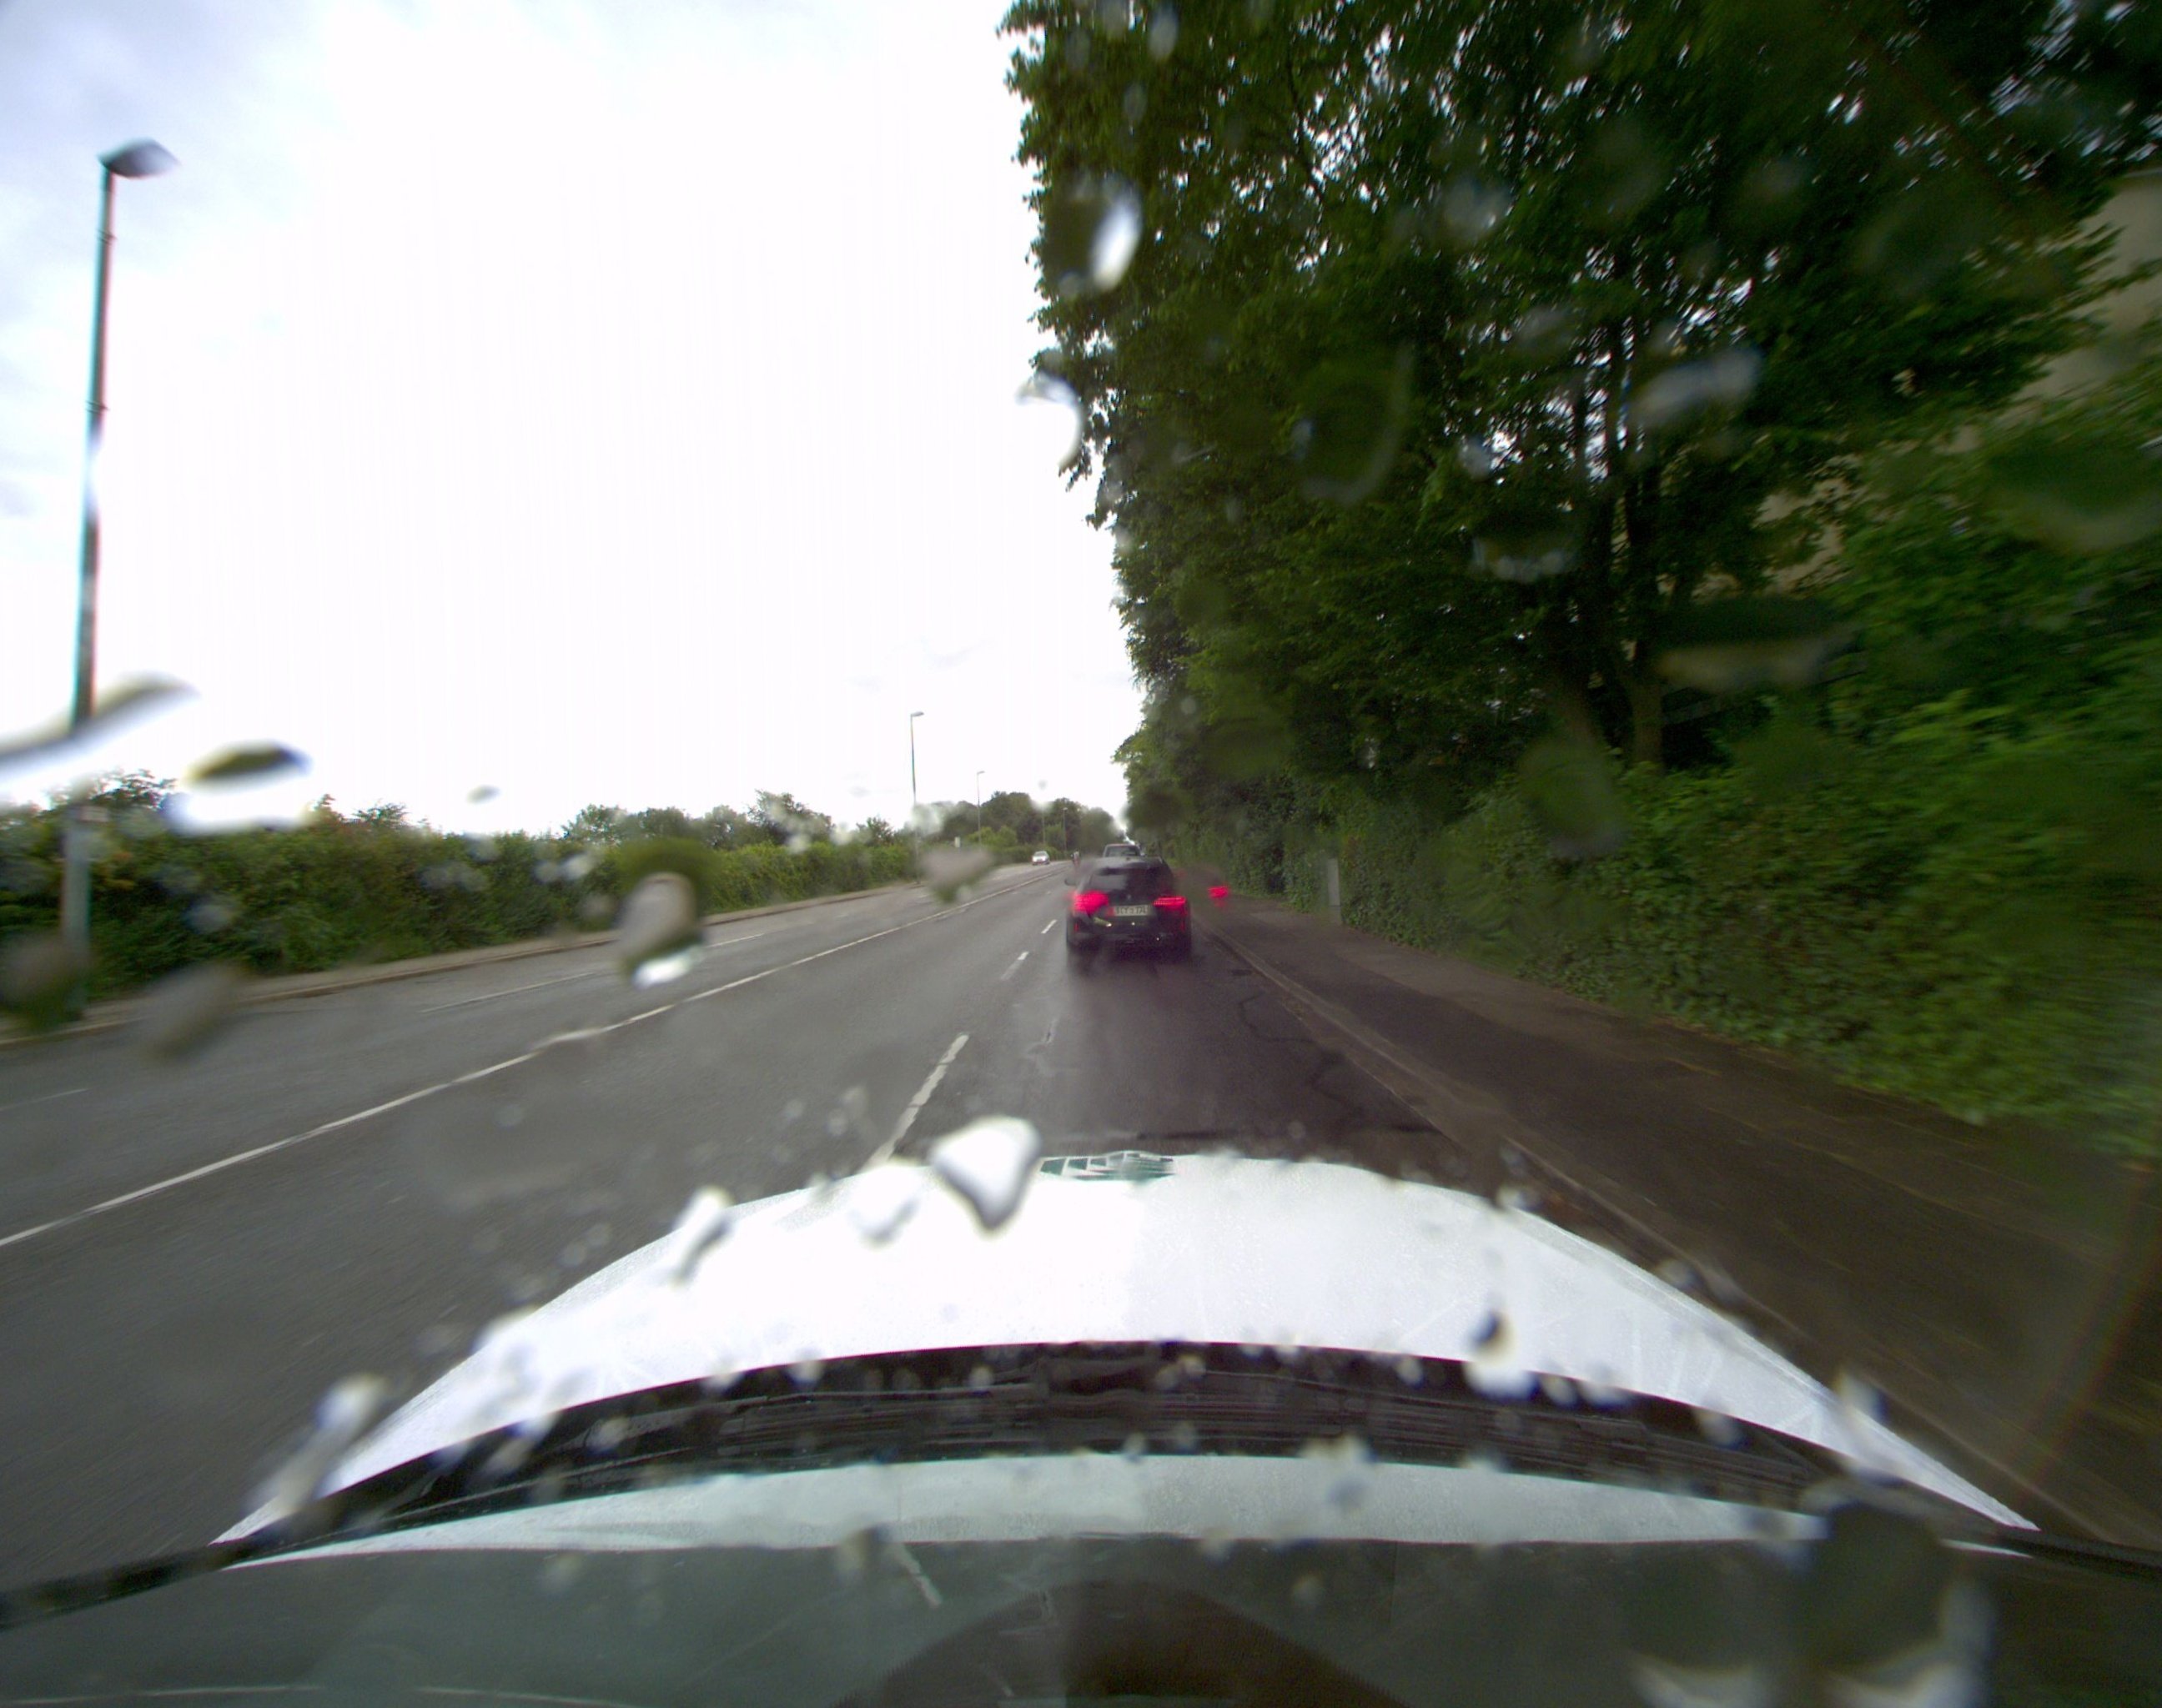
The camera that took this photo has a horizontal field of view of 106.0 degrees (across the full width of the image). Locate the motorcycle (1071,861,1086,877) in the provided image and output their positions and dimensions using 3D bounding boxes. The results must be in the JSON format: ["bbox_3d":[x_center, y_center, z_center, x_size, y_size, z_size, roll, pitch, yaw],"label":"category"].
[{"bbox_3d":[-0.171,1.070,60.019,0.872,1.124,2.743,0,-1,3],"label":"motorcycle"}]

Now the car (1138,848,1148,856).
[{"bbox_3d":[13.037,-0.438,170.517,1.926,1.442,4.415,-3,0,6],"label":"car"}]

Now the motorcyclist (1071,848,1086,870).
[{"bbox_3d":[-0.193,0.375,60.134,1.035,1.567,0.855,0,-1,2],"label":"motorcyclist"}]

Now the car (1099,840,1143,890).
[{"bbox_3d":[1.669,0.419,33.663,1.622,1.833,4.003,-3,0,3],"label":"car"}]

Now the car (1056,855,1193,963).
[{"bbox_3d":[0.750,0.761,13.261,1.888,1.489,4.005,0,0,4],"label":"car"}]

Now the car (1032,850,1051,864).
[{"bbox_3d":[-4.640,0.362,95.798,1.750,1.568,4.001,-4,0,2],"label":"car"}]
